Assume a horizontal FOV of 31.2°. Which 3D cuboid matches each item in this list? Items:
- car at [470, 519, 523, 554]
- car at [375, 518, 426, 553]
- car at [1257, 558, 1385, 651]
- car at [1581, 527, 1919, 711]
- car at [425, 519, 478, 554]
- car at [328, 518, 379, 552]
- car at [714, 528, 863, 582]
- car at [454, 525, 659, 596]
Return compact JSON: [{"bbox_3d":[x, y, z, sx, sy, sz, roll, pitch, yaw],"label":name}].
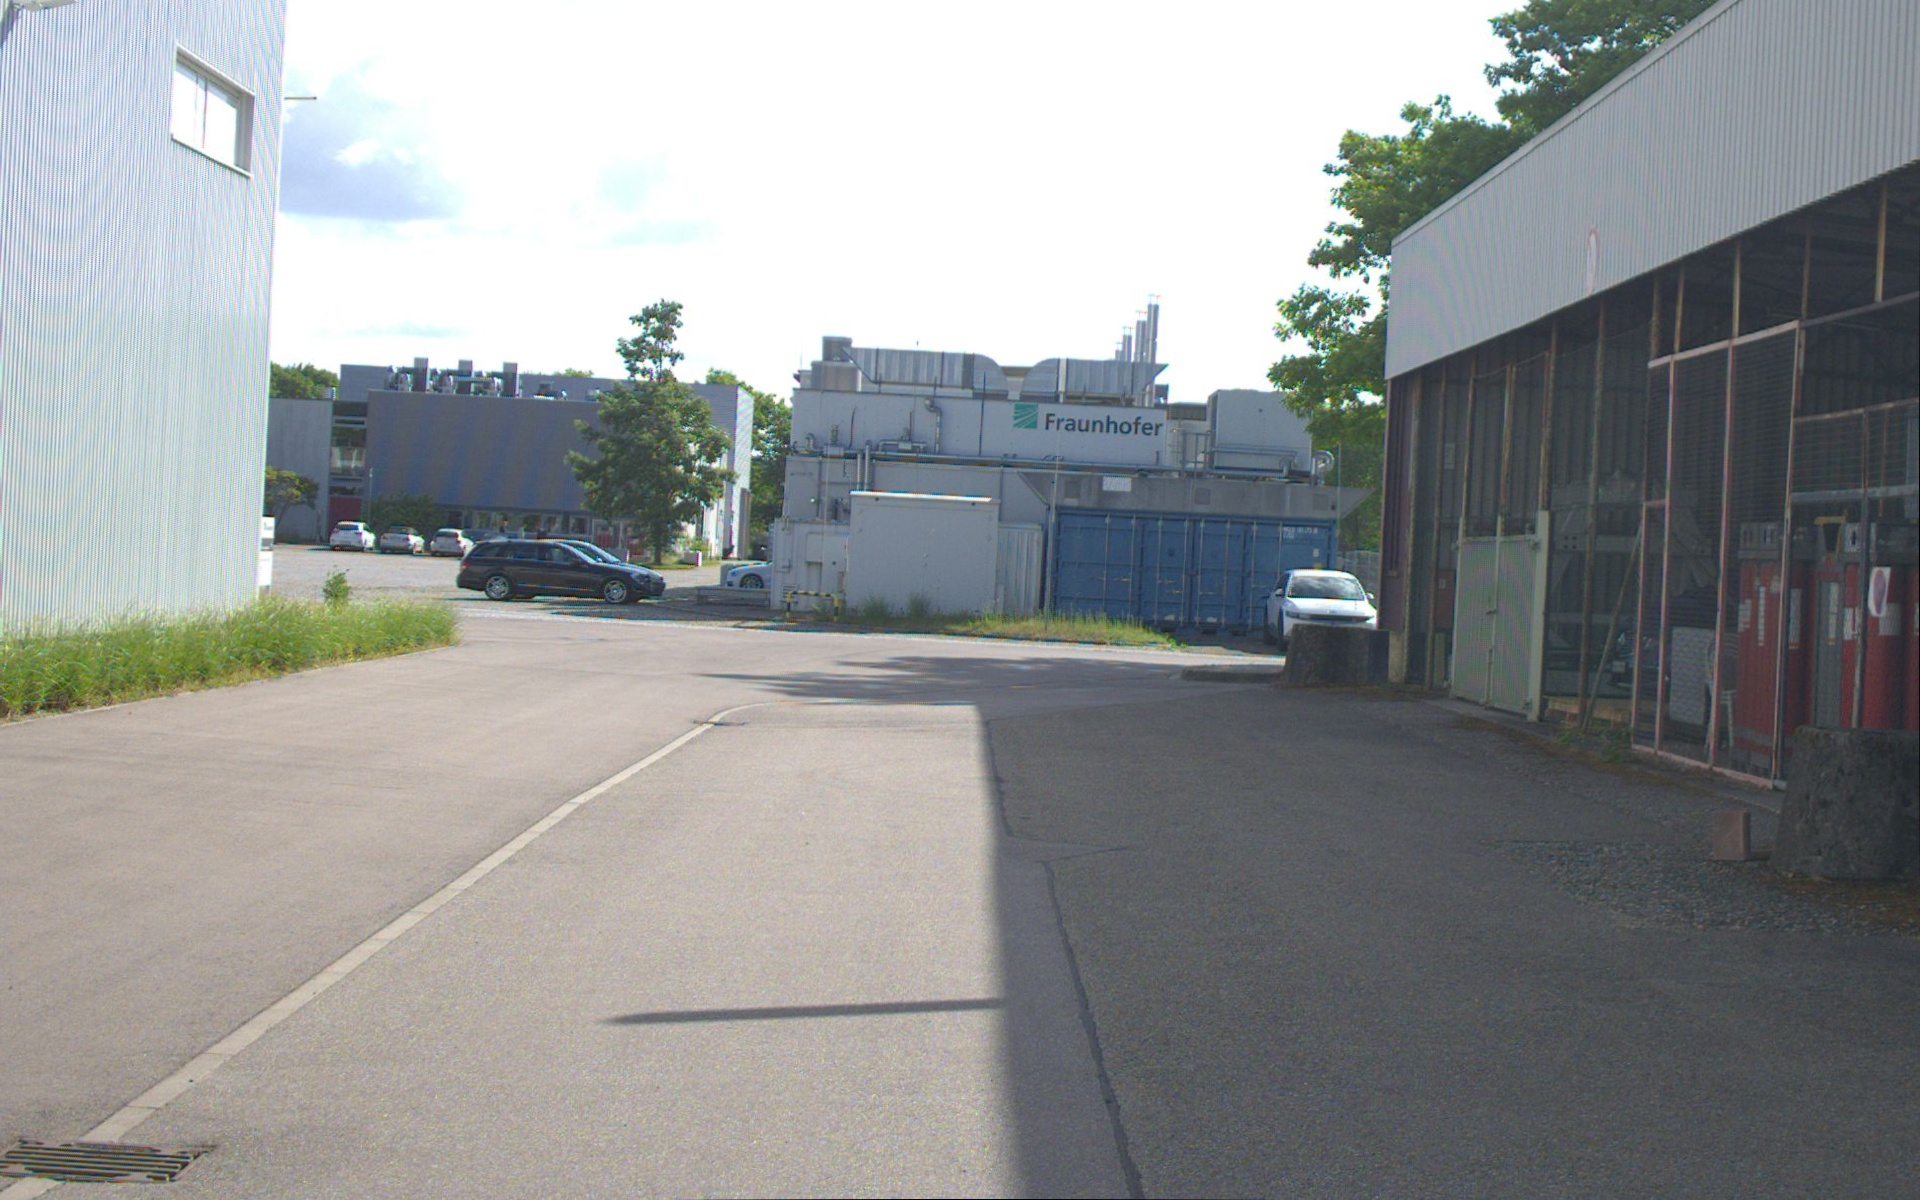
[{"bbox_3d":[-23.809,-3.273,176.653,2.193,1.730,4.000,1,0,-1],"label":"car"},{"bbox_3d":[-28.956,-3.315,178.036,1.993,1.730,4.000,1,0,-1],"label":"car"},{"bbox_3d":[7.145,0.061,68.400,1.993,1.580,4.173,2,2,-1],"label":"car"},{"bbox_3d":[9.757,0.232,38.101,5.236,1.870,2.000,2,1,-5],"label":"car"},{"bbox_3d":[-26.370,-3.302,178.372,2.193,1.730,4.000,1,0,-1],"label":"car"},{"bbox_3d":[-31.454,-3.363,178.395,1.993,1.730,4.000,1,0,-1],"label":"car"},{"bbox_3d":[-5.409,-1.420,108.783,4.526,1.503,1.909,2,1,1],"label":"car"},{"bbox_3d":[-9.510,-0.944,81.200,4.526,1.503,1.909,2,1,2],"label":"car"}]
